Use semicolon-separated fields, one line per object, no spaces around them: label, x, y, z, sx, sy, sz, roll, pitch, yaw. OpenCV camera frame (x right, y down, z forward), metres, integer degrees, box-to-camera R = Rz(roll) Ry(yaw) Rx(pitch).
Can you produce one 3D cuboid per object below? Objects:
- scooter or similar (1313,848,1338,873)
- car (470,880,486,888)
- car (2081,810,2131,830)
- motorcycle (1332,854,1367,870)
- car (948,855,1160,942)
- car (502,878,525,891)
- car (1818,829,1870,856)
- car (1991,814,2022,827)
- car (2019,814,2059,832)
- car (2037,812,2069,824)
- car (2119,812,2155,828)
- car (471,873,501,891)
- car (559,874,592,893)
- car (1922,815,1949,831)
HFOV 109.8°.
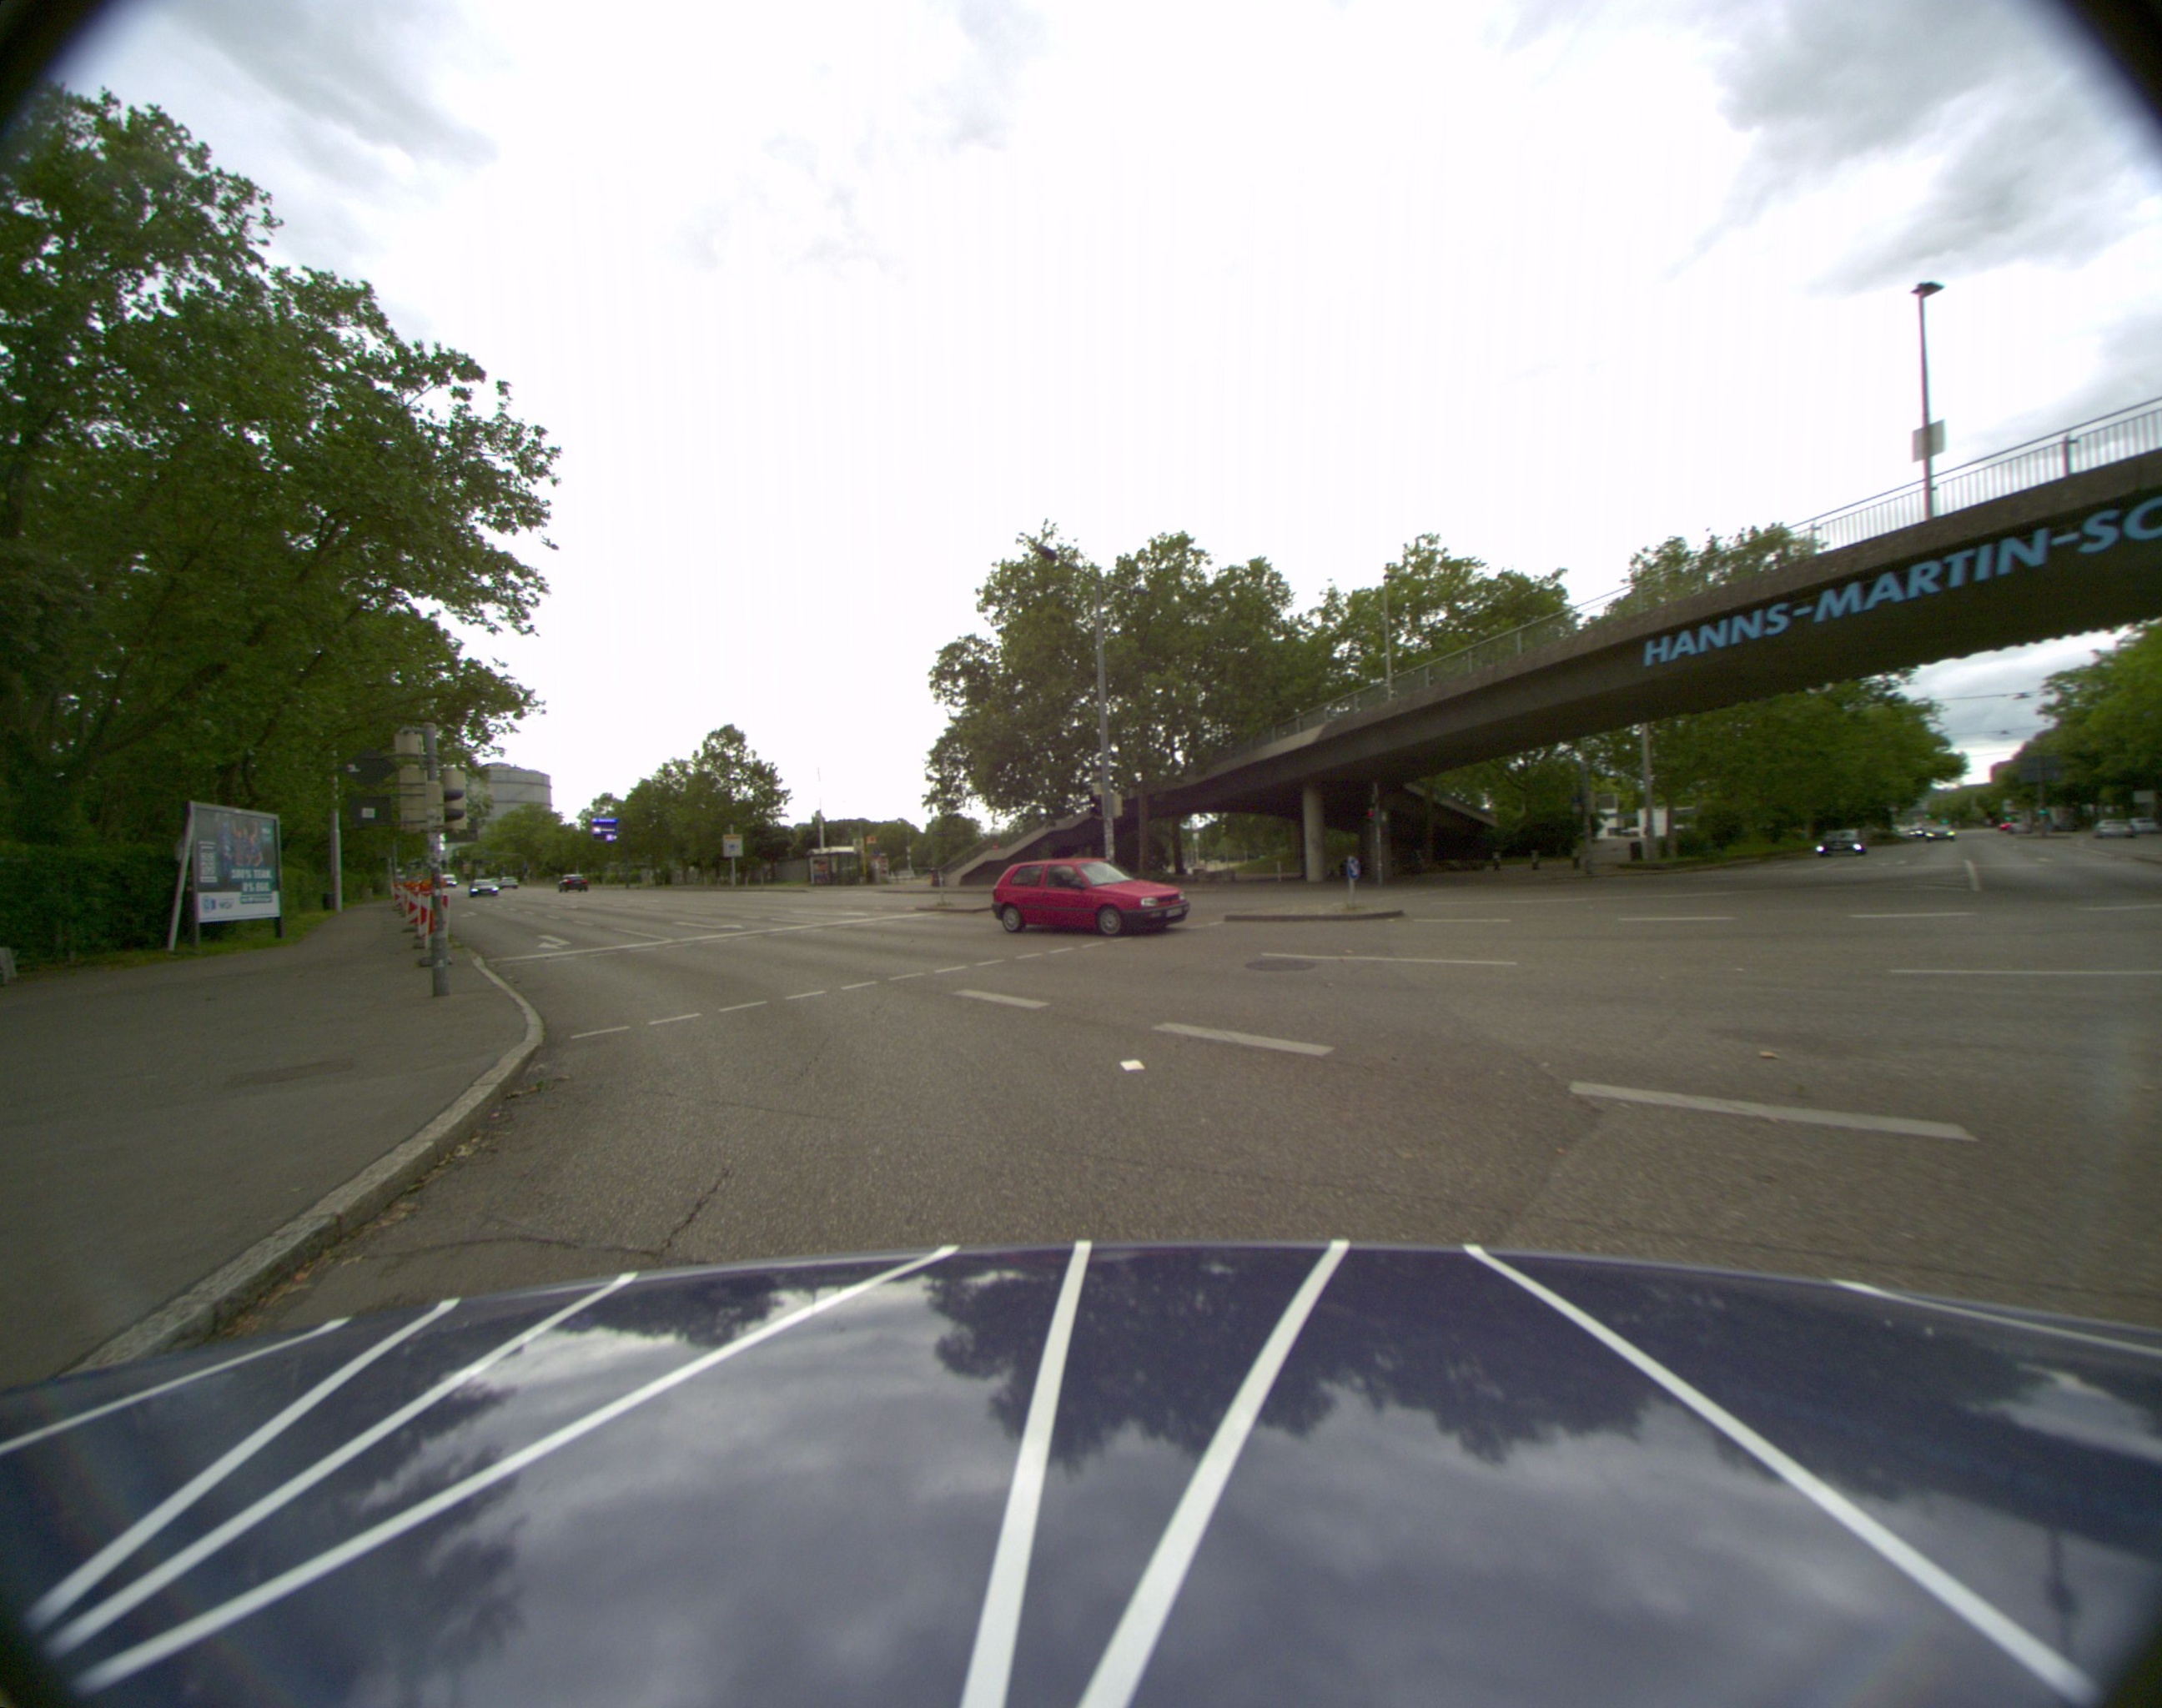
scooter or similar;12.929;0.327;40.161;0.418;1.311;1.224;-2;2;-43
car;-116.778;5.810;147.030;2.004;1.521;4.713;-2;-1;-43
car;81.800;-2.688;60.698;4.007;1.410;1.995;-4;1;-42
motorcycle;14.992;0.454;42.407;0.651;0.846;1.733;-3;0;-37
car;-0.635;0.856;15.367;4.065;1.443;1.838;-3;1;41
car;-79.255;4.226;106.152;2.004;1.734;4.583;-3;0;-44
car;44.781;-0.670;44.598;3.722;1.313;1.759;-5;2;-39
car;121.801;-4.414;100.023;1.995;1.650;4.007;-2;1;42
car;87.209;-2.840;69.219;4.007;1.410;1.995;-4;1;-41
car;127.348;-4.678;99.557;1.845;1.416;4.008;-2;0;42
car;97.641;-3.171;70.270;3.401;1.305;1.612;-4;1;-41
car;-53.859;2.496;68.758;1.803;1.501;3.989;-3;0;-42
car;-47.014;2.747;70.633;1.778;1.596;4.416;-2;0;-43
car;85.690;-3.108;76.155;3.722;1.356;1.759;-5;2;-41
